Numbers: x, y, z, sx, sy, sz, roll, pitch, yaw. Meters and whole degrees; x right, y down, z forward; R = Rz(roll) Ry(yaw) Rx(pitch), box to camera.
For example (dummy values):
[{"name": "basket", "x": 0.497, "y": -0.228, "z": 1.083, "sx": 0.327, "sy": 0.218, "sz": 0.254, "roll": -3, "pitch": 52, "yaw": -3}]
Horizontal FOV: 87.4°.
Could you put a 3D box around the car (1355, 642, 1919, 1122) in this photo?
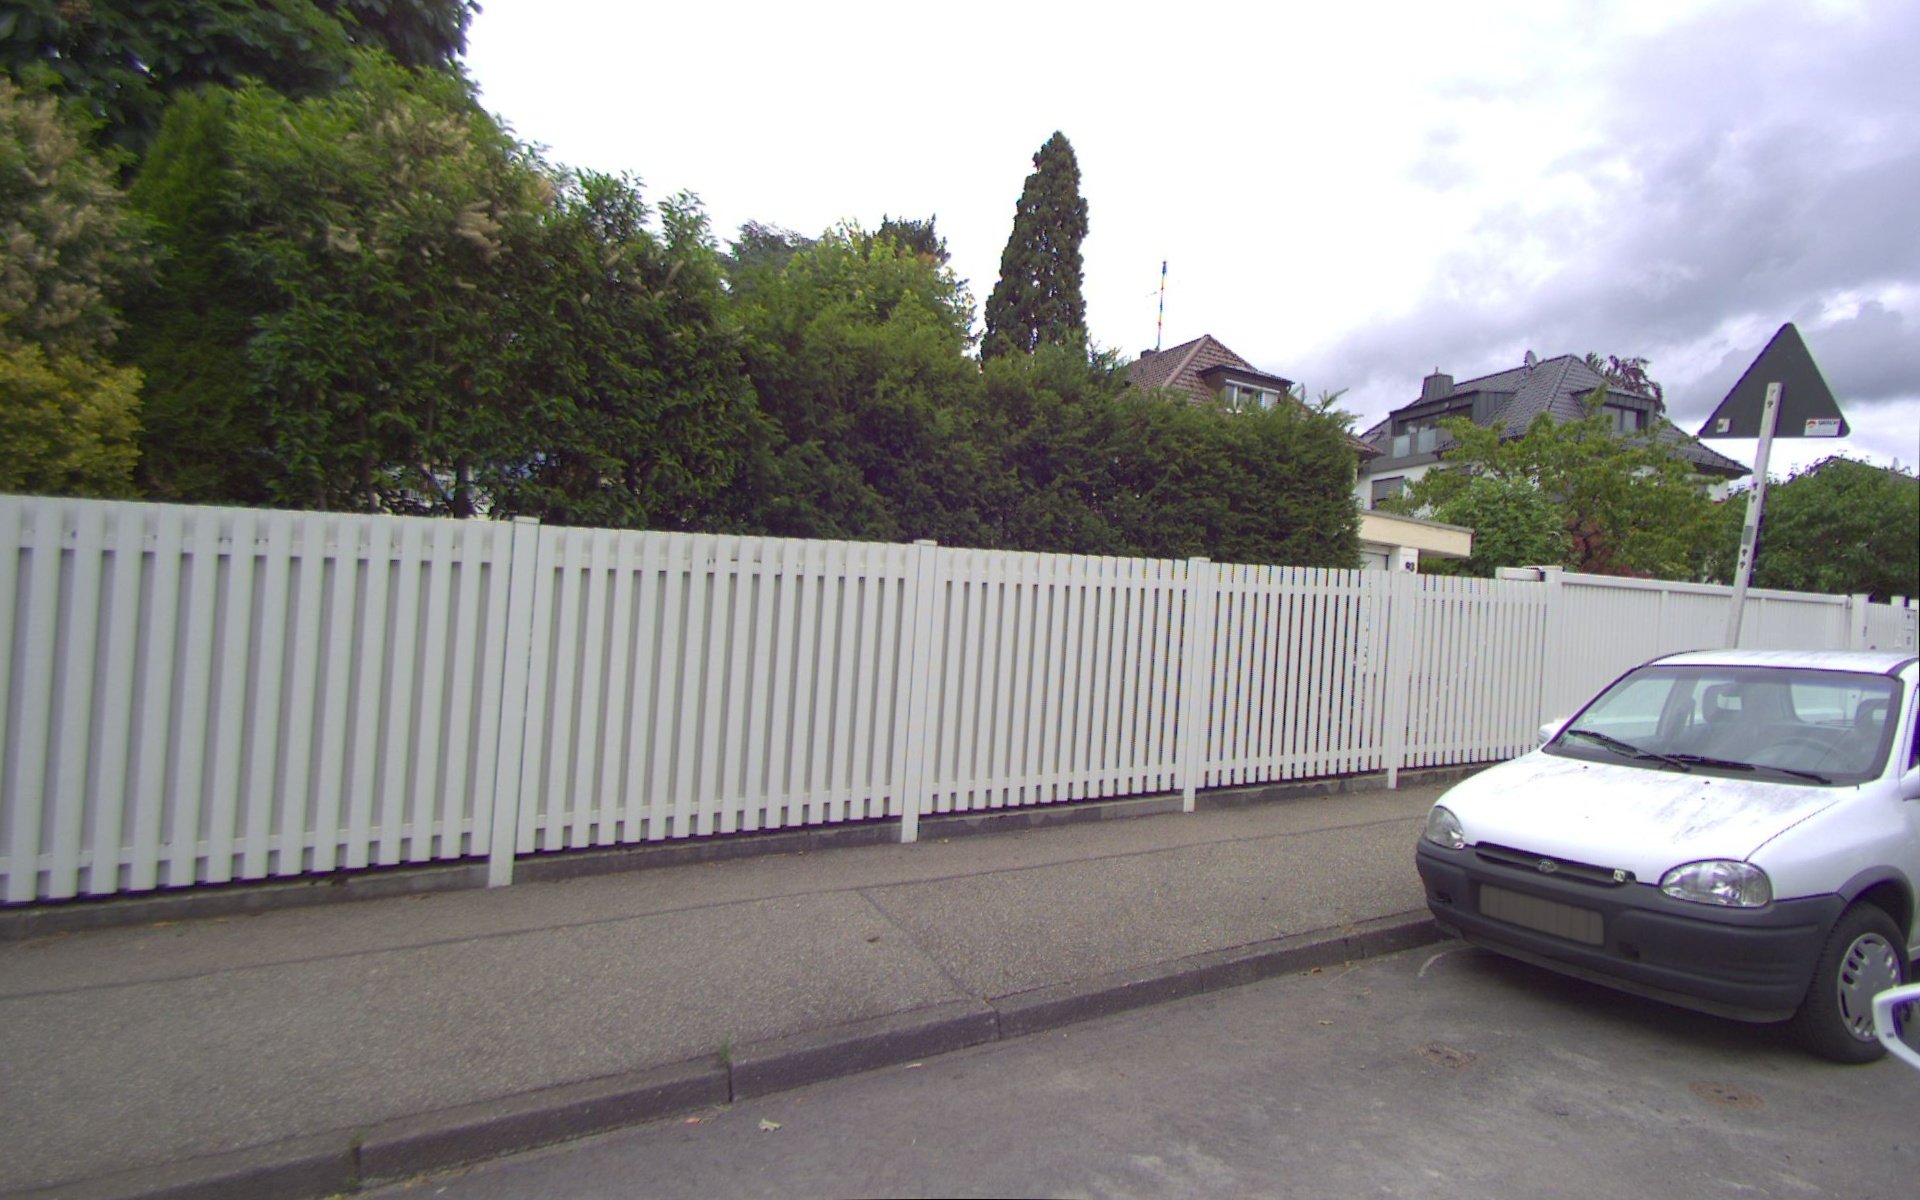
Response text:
[{"name": "car", "x": 3.866, "y": 0.948, "z": 4.764, "sx": 3.951, "sy": 1.452, "sz": 1.589, "roll": 2, "pitch": -2, "yaw": -29}]
